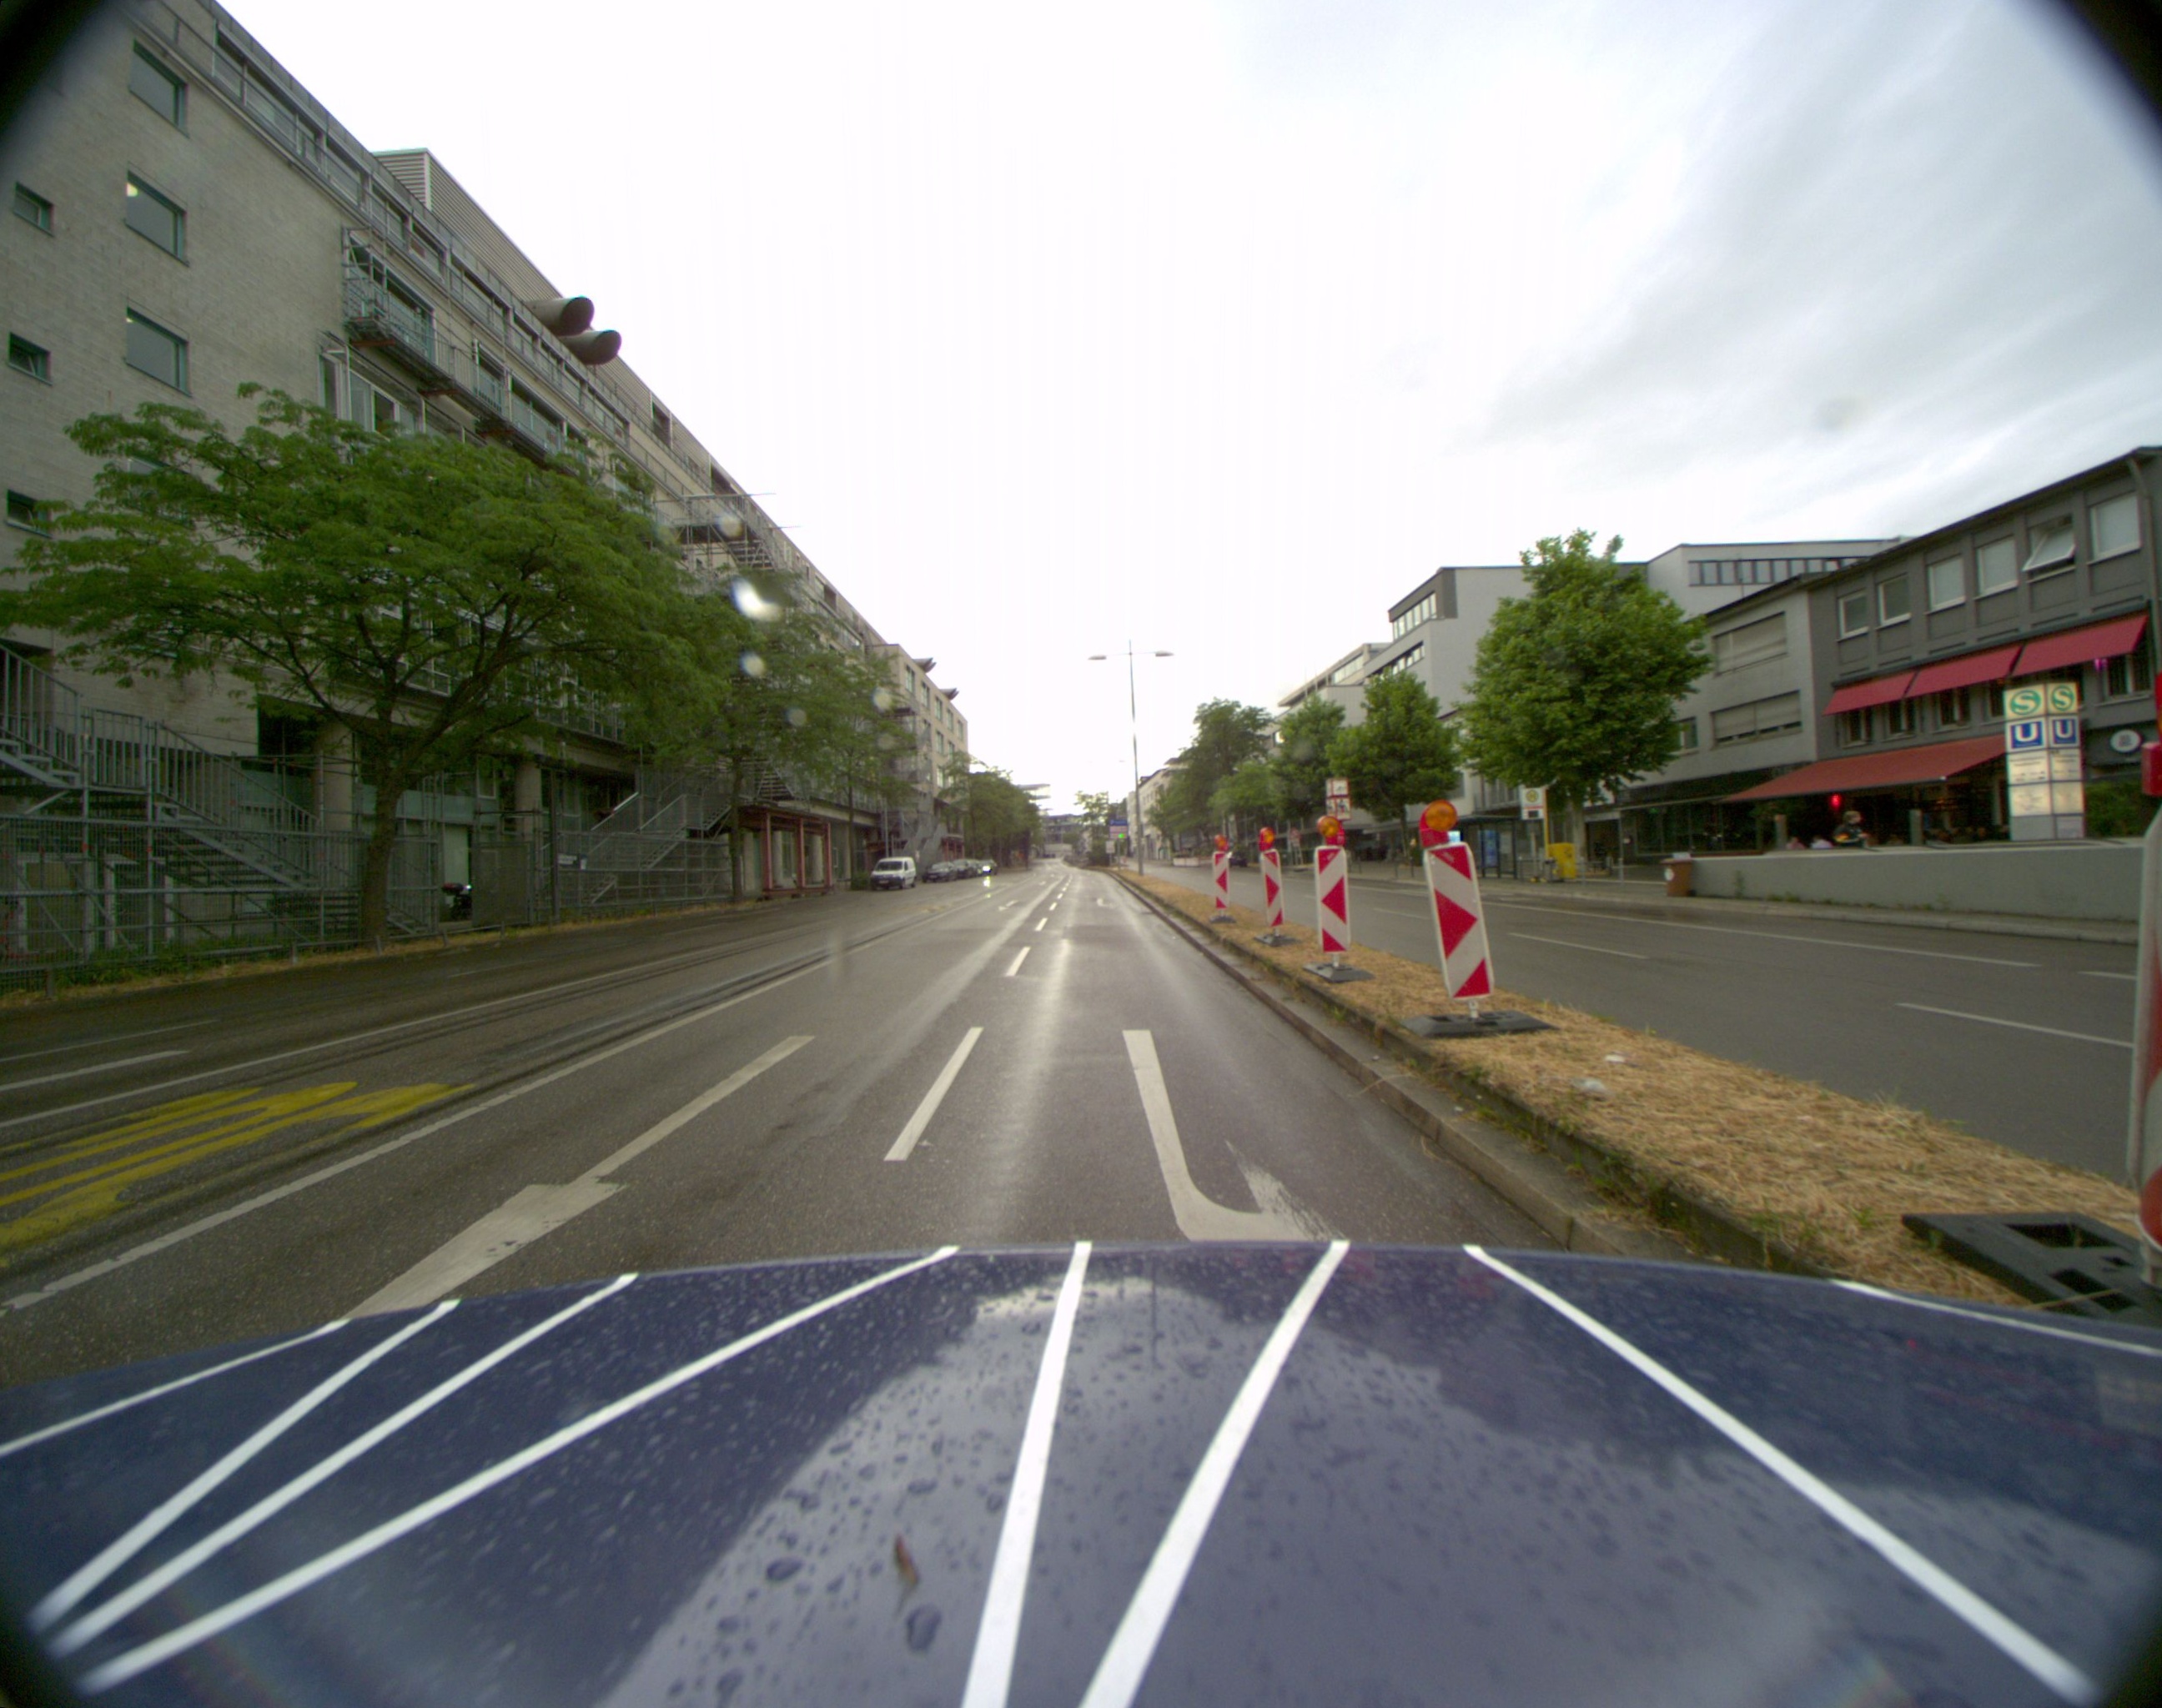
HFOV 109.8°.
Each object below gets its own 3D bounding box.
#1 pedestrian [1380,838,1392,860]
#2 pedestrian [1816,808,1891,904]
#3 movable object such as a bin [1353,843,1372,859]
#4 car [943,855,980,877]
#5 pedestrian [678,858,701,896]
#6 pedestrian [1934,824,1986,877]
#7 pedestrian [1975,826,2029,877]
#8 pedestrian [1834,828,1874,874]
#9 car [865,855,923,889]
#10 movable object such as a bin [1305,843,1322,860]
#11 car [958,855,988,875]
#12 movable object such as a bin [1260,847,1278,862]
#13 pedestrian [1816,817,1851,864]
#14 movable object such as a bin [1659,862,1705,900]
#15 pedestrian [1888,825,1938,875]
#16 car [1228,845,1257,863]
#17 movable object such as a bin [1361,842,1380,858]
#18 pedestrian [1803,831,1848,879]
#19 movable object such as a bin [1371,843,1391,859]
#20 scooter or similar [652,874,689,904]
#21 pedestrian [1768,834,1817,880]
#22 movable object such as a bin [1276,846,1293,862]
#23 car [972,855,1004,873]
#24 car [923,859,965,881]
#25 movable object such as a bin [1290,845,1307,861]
[{"bbox_3d":[23.939,-0.392,59.660,0.698,1.753,0.653,-1,1,3],"label":"pedestrian"},{"bbox_3d":[15.674,0.045,15.434,0.691,1.874,0.758,-2,1,-4],"label":"pedestrian"},{"bbox_3d":[26.646,-0.301,71.943,1.088,1.427,1.281,-2,0,-9],"label":"movable object such as a bin"},{"bbox_3d":[-9.591,0.940,61.347,1.998,1.636,4.863,-2,0,3],"label":"car"},{"bbox_3d":[-18.231,1.061,35.419,0.677,1.732,0.653,-1,1,3],"label":"pedestrian"},{"bbox_3d":[24.772,-0.107,21.425,0.635,1.442,0.691,-2,1,-6],"label":"pedestrian"},{"bbox_3d":[24.918,-0.056,20.565,0.635,1.336,0.691,-2,1,-6],"label":"pedestrian"},{"bbox_3d":[24.904,-0.087,24.490,0.691,1.442,0.547,-2,1,-4],"label":"pedestrian"},{"bbox_3d":[-10.451,0.955,42.809,1.998,1.739,4.526,-2,0,1],"label":"car"},{"bbox_3d":[21.701,-0.225,70.925,1.281,1.480,1.088,-2,1,1],"label":"movable object such as a bin"},{"bbox_3d":[-9.447,0.952,66.721,1.866,1.591,4.593,-2,0,1],"label":"car"},{"bbox_3d":[17.515,0.048,70.907,1.362,1.418,1.088,-2,1,1],"label":"movable object such as a bin"},{"bbox_3d":[26.021,-0.462,26.272,0.598,1.561,0.604,-2,1,-9],"label":"pedestrian"},{"bbox_3d":[14.516,0.647,18.358,0.533,0.892,0.682,0,0,-9],"label":"movable object such as a bin"},{"bbox_3d":[24.946,-0.118,22.801,0.728,1.442,0.691,-2,1,-6],"label":"pedestrian"},{"bbox_3d":[15.818,0.034,74.536,1.783,1.626,4.023,-2,0,-2],"label":"car"},{"bbox_3d":[26.834,-0.356,70.404,1.088,1.427,1.281,-2,0,-9],"label":"movable object such as a bin"},{"bbox_3d":[23.180,0.032,23.670,0.691,1.442,0.707,-2,1,-4],"label":"pedestrian"},{"bbox_3d":[27.240,-0.278,69.025,1.088,1.427,1.281,-2,0,-9],"label":"movable object such as a bin"},{"bbox_3d":[-17.181,1.452,31.839,0.633,1.155,1.547,-2,0,1],"label":"scooter or similar"},{"bbox_3d":[23.110,0.100,24.704,0.691,1.442,0.914,-2,0,-4],"label":"pedestrian"},{"bbox_3d":[18.956,0.012,70.908,1.281,1.418,1.088,-2,1,1],"label":"movable object such as a bin"},{"bbox_3d":[-8.854,0.937,72.641,1.998,1.591,5.290,-2,0,4],"label":"car"},{"bbox_3d":[-9.781,1.099,54.554,1.873,1.429,4.922,-2,0,3],"label":"car"},{"bbox_3d":[20.307,-0.110,70.934,1.281,1.418,1.088,-2,1,1],"label":"movable object such as a bin"}]
